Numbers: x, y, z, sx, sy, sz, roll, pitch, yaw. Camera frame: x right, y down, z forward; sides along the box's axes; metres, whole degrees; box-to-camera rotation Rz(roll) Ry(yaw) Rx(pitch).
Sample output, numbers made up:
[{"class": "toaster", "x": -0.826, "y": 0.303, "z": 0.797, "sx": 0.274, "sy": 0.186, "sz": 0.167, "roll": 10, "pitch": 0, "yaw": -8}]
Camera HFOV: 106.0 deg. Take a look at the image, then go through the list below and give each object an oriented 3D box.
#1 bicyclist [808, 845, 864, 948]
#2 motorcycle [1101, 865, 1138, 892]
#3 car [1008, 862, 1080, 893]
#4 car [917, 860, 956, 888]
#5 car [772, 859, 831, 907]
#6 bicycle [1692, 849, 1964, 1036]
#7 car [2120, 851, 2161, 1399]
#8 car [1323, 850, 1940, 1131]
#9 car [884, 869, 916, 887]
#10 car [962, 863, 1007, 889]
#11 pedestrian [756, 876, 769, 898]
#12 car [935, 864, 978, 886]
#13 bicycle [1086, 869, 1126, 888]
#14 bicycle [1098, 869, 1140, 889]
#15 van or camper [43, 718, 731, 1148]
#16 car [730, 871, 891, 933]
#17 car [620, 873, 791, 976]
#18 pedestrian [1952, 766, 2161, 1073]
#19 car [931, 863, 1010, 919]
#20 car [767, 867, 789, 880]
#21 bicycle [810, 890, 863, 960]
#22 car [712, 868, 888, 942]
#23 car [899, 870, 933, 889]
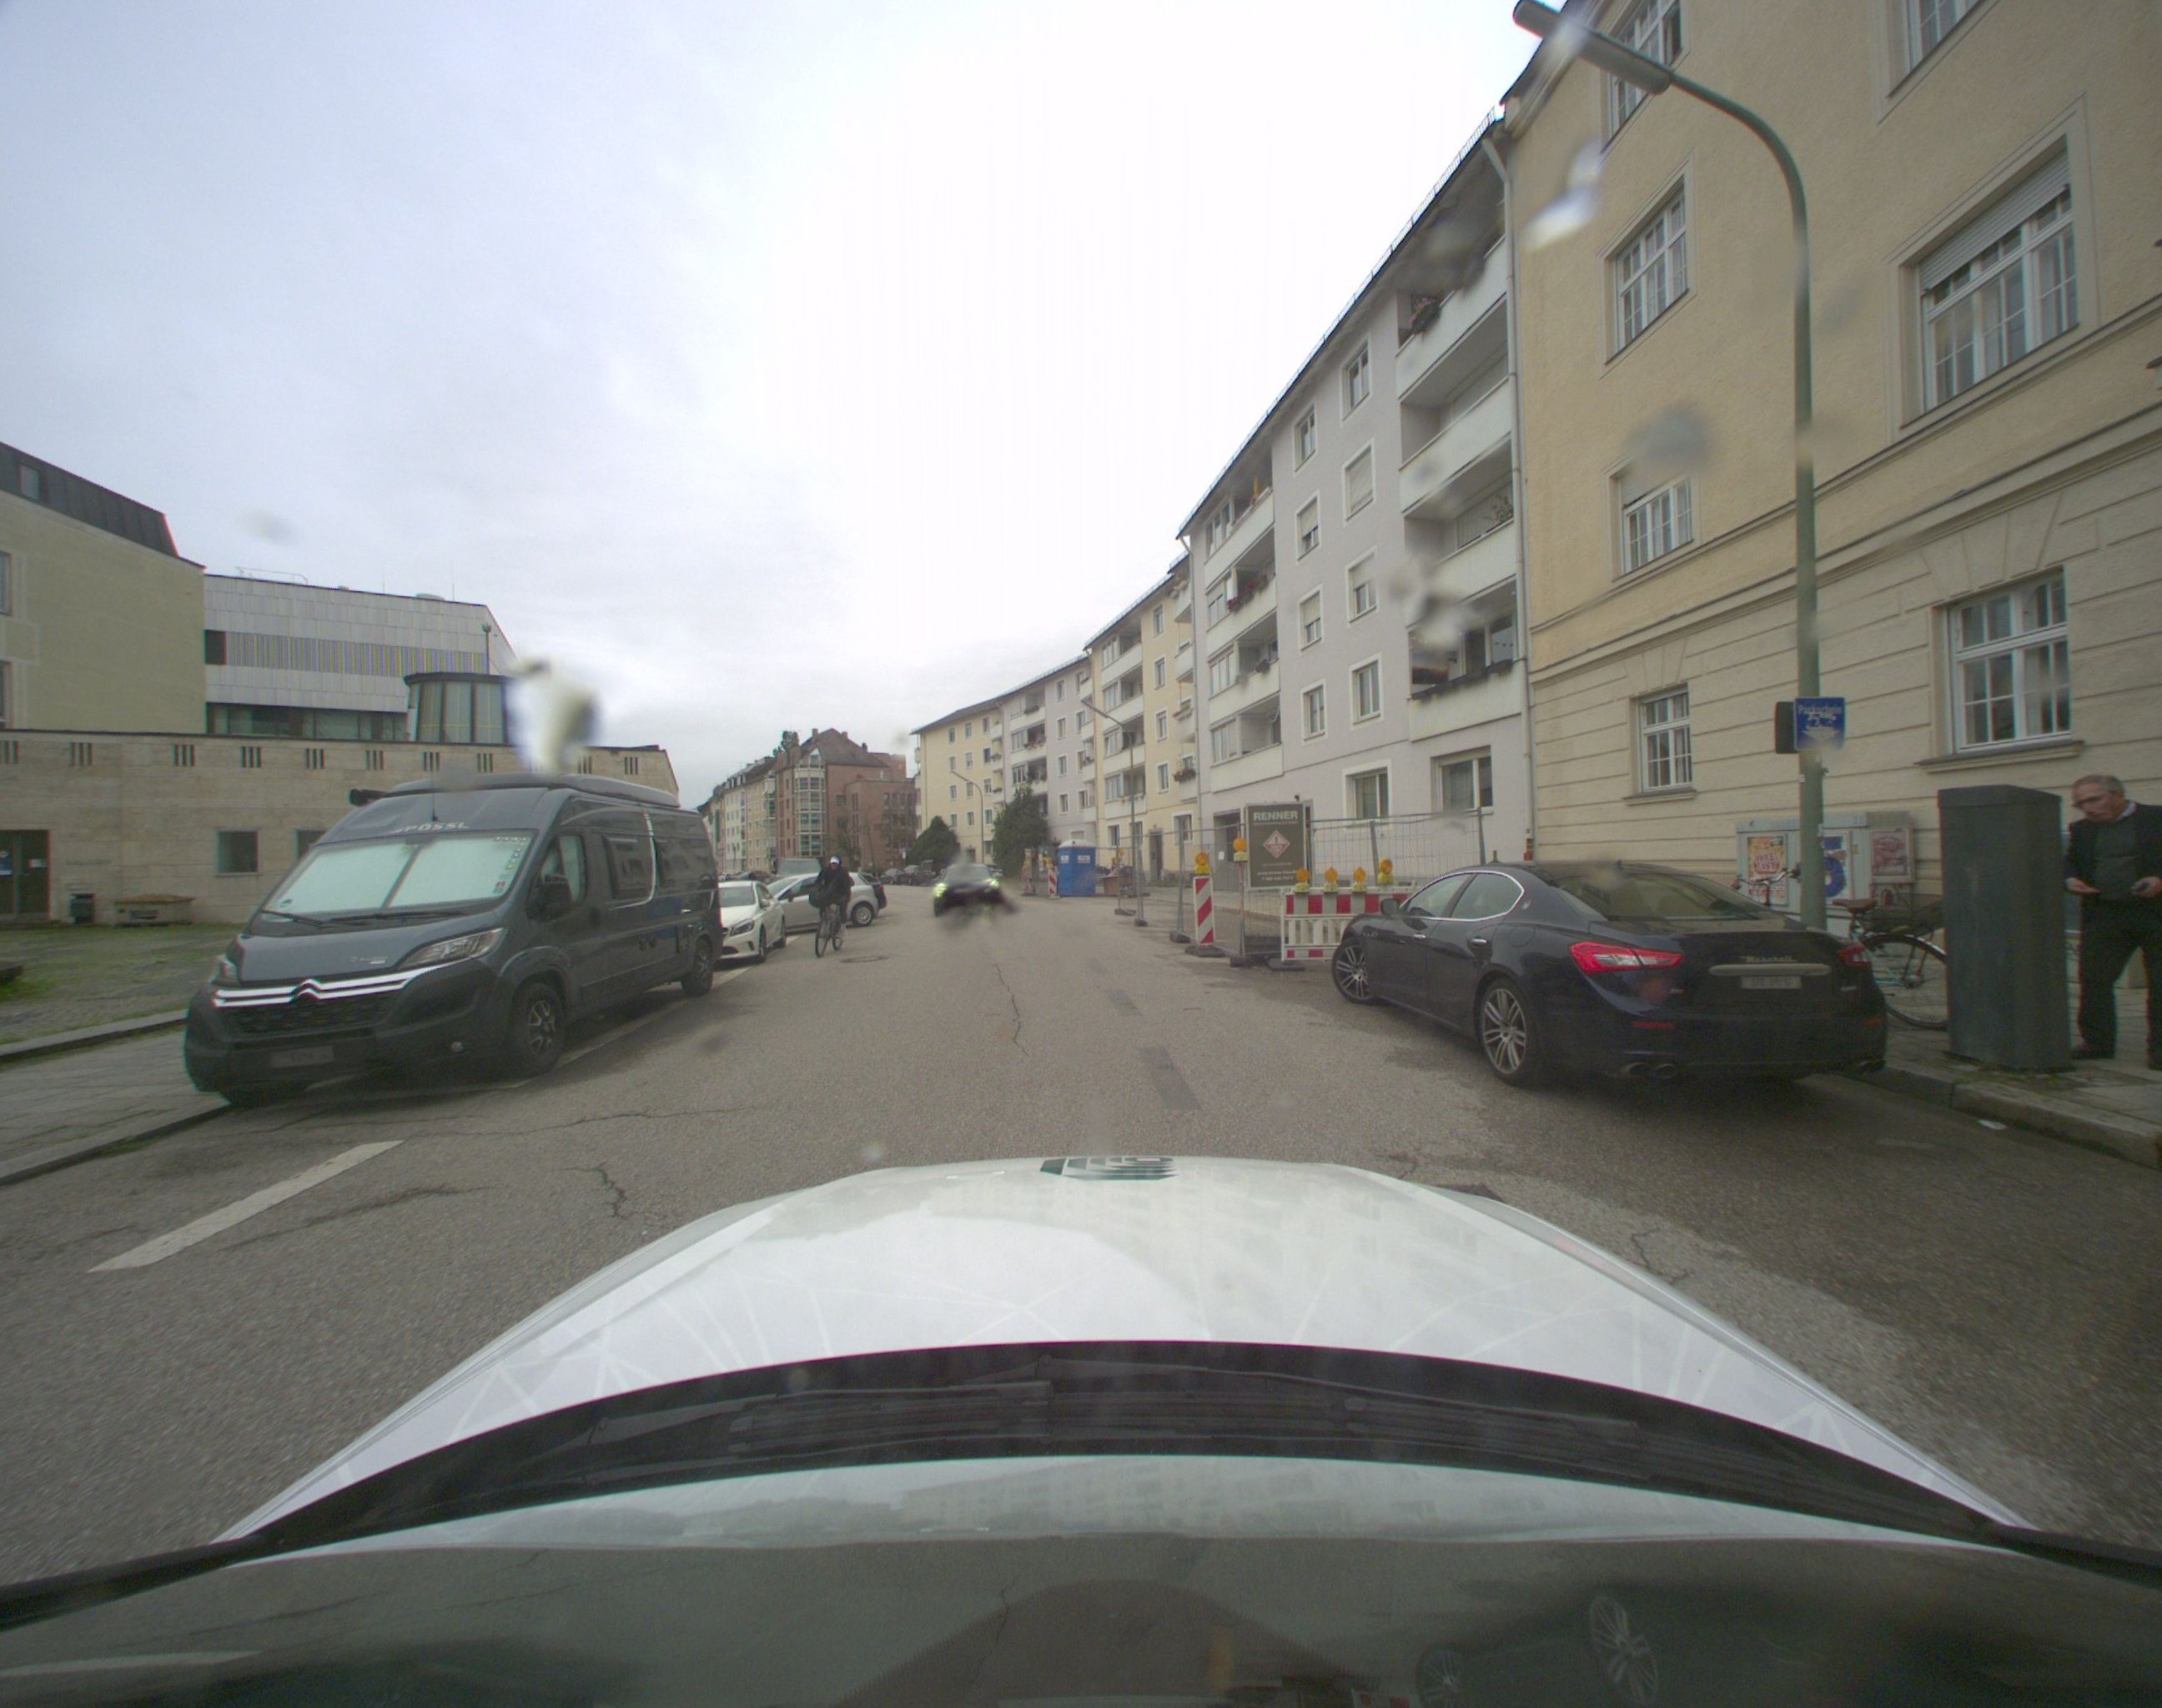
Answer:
[{"class": "bicyclist", "x": -4.433, "y": 0.750, "z": 14.789, "sx": 0.744, "sy": 1.771, "sz": 0.813, "roll": -4, "pitch": 0, "yaw": -9}, {"class": "motorcycle", "x": 1.846, "y": 1.159, "z": 39.270, "sx": 0.934, "sy": 1.221, "sz": 2.491, "roll": -1, "pitch": -1, "yaw": -19}, {"class": "car", "x": -1.936, "y": 1.194, "z": 41.415, "sx": 1.793, "sy": 1.439, "sz": 4.237, "roll": -1, "pitch": -1, "yaw": -33}, {"class": "car", "x": -11.025, "y": 1.529, "z": 61.912, "sx": 1.791, "sy": 1.977, "sz": 3.687, "roll": -3, "pitch": 0, "yaw": -27}, {"class": "car", "x": -11.175, "y": 1.144, "z": 32.532, "sx": 2.059, "sy": 1.736, "sz": 4.853, "roll": -1, "pitch": -1, "yaw": -20}, {"class": "bicycle", "x": 5.696, "y": 0.609, "z": 6.367, "sx": 0.634, "sy": 1.258, "sz": 1.673, "roll": -1, "pitch": -1, "yaw": 4}, {"class": "car", "x": 3.529, "y": 0.690, "z": 0.318, "sx": 1.624, "sy": 1.417, "sz": 3.681, "roll": -1, "pitch": 0, "yaw": 2}, {"class": "car", "x": 3.678, "y": 0.734, "z": 6.828, "sx": 1.901, "sy": 1.477, "sz": 4.947, "roll": -1, "pitch": 0, "yaw": 1}, {"class": "car", "x": -15.738, "y": 2.086, "z": 70.570, "sx": 1.791, "sy": 1.510, "sz": 3.687, "roll": -2, "pitch": -1, "yaw": -27}, {"class": "car", "x": -6.407, "y": 1.439, "z": 53.617, "sx": 1.839, "sy": 1.574, "sz": 3.967, "roll": -1, "pitch": -1, "yaw": -25}, {"class": "pedestrian", "x": -24.297, "y": 2.546, "z": 62.127, "sx": 0.762, "sy": 1.630, "sz": 0.916, "roll": -1, "pitch": -1, "yaw": -14}, {"class": "car", "x": -8.908, "y": 1.471, "z": 58.045, "sx": 1.792, "sy": 1.519, "sz": 3.683, "roll": 0, "pitch": -1, "yaw": -31}, {"class": "bicycle", "x": 1.494, "y": 1.475, "z": 48.658, "sx": 2.239, "sy": 1.069, "sz": 0.913, "roll": -1, "pitch": -1, "yaw": -19}, {"class": "bicycle", "x": 2.196, "y": 1.455, "z": 47.296, "sx": 2.239, "sy": 1.069, "sz": 0.913, "roll": -1, "pitch": -1, "yaw": -19}, {"class": "van or camper", "x": -5.661, "y": 0.496, "z": 8.216, "sx": 2.296, "sy": 2.581, "sz": 6.067, "roll": -3, "pitch": 0, "yaw": -9}, {"class": "car", "x": -7.789, "y": 1.355, "z": 23.706, "sx": 1.791, "sy": 1.421, "sz": 4.023, "roll": -4, "pitch": -1, "yaw": 44}, {"class": "car", "x": -6.611, "y": 1.138, "z": 14.846, "sx": 1.997, "sy": 1.451, "sz": 4.194, "roll": -4, "pitch": 0, "yaw": -14}, {"class": "pedestrian", "x": 6.197, "y": 0.352, "z": 4.982, "sx": 0.614, "sy": 1.690, "sz": 0.920, "roll": -5, "pitch": -1, "yaw": 5}, {"class": "car", "x": -3.230, "y": 1.050, "z": 24.666, "sx": 1.916, "sy": 1.412, "sz": 4.697, "roll": -4, "pitch": -1, "yaw": -4}, {"class": "car", "x": -37.452, "y": 2.427, "z": 100.612, "sx": 1.645, "sy": 1.483, "sz": 3.572, "roll": 0, "pitch": 0, "yaw": -34}, {"class": "bicycle", "x": -4.378, "y": 1.236, "z": 14.696, "sx": 0.585, "sy": 1.069, "sz": 1.931, "roll": -4, "pitch": 0, "yaw": -9}, {"class": "car", "x": -7.083, "y": 1.240, "z": 20.757, "sx": 3.832, "sy": 1.507, "sz": 1.693, "roll": -3, "pitch": -1, "yaw": -45}, {"class": "car", "x": -13.568, "y": 2.078, "z": 66.691, "sx": 1.791, "sy": 1.510, "sz": 3.687, "roll": 0, "pitch": -1, "yaw": -27}]
